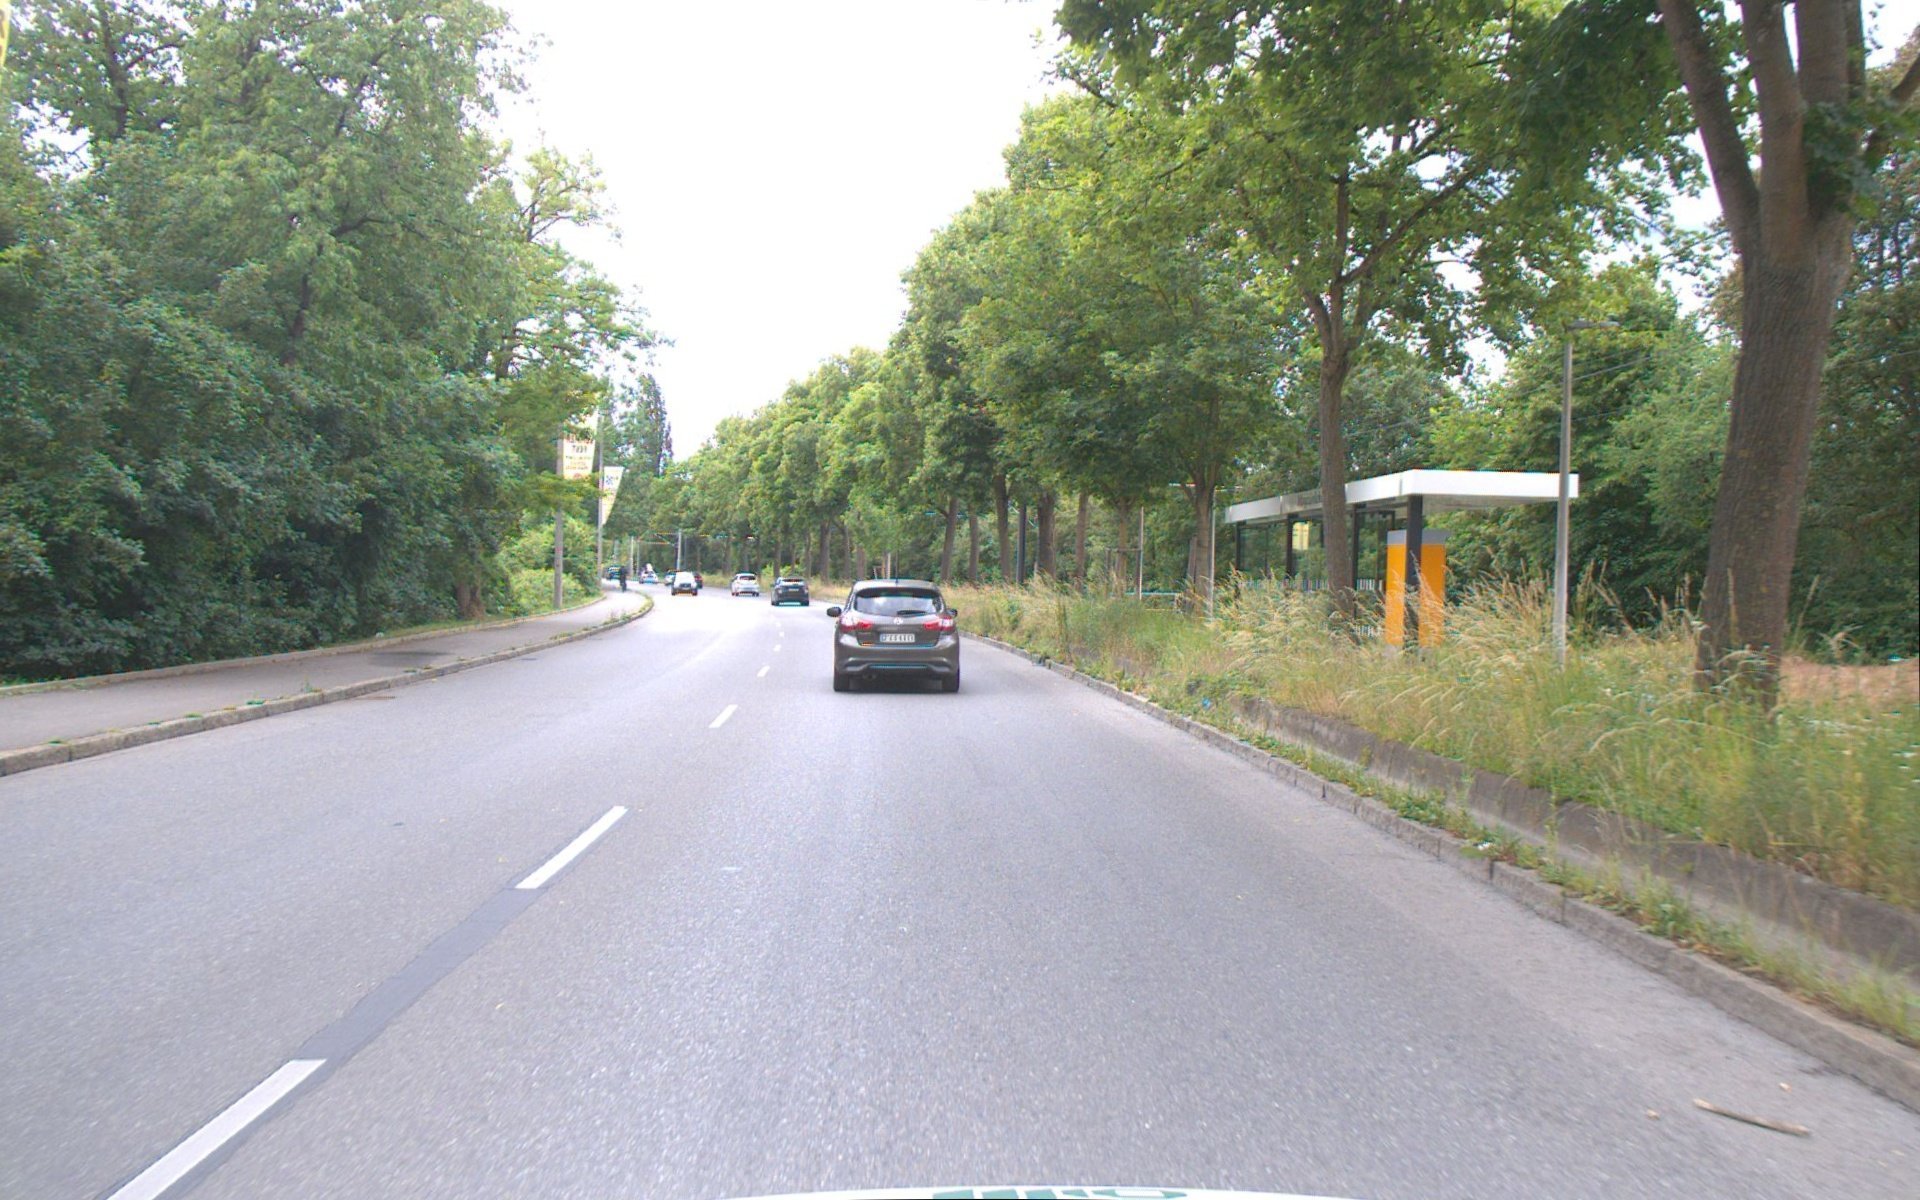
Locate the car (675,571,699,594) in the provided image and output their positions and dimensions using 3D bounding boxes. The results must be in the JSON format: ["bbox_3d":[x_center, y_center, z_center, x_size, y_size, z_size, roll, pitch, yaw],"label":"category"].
[{"bbox_3d":[-18.576,-1.218,112.484,1.566,1.532,3.021,0,1,-10],"label":"car"}]

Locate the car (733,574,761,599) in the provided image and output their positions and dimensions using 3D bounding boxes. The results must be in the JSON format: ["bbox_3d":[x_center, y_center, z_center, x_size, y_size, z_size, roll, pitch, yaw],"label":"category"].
[{"bbox_3d":[-14.513,-0.931,113.010,1.742,1.497,3.995,3,1,-7],"label":"car"}]

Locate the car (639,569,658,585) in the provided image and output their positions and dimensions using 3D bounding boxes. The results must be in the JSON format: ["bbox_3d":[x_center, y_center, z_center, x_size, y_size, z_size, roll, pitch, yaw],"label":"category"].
[{"bbox_3d":[-34.190,-2.526,181.740,1.746,1.497,3.986,3,1,-14],"label":"car"}]

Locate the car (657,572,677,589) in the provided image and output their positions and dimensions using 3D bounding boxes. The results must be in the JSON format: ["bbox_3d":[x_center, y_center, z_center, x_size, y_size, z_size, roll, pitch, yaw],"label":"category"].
[{"bbox_3d":[-28.503,-1.903,161.198,1.743,1.497,3.993,2,1,-8],"label":"car"}]

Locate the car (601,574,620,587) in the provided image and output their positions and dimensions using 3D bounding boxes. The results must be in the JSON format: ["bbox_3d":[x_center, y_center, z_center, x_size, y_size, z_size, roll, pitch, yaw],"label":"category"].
[{"bbox_3d":[-43.795,-2.425,207.431,1.749,1.497,3.978,3,1,-20],"label":"car"}]

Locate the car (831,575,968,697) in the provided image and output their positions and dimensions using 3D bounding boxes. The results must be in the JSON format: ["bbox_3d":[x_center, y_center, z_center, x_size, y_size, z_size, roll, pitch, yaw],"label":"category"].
[{"bbox_3d":[-0.952,0.452,23.905,1.780,1.534,3.997,0,2,-5],"label":"car"}]

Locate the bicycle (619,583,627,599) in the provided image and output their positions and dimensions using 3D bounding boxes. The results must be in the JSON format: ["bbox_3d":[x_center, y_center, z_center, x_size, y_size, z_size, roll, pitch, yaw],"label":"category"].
[{"bbox_3d":[-22.184,-0.598,108.970,0.479,1.048,1.121,3,1,-12],"label":"bicycle"}]

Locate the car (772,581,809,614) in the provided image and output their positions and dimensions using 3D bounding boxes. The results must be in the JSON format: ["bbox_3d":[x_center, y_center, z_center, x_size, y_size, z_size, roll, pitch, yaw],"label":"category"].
[{"bbox_3d":[-8.601,-0.137,84.221,1.741,1.497,3.996,3,1,-5],"label":"car"}]

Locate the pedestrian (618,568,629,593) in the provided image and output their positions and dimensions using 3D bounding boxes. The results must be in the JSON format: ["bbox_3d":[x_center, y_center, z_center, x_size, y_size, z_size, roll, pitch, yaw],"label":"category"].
[{"bbox_3d":[-22.155,-1.256,108.935,0.607,1.598,0.847,3,1,-12],"label":"pedestrian"}]
